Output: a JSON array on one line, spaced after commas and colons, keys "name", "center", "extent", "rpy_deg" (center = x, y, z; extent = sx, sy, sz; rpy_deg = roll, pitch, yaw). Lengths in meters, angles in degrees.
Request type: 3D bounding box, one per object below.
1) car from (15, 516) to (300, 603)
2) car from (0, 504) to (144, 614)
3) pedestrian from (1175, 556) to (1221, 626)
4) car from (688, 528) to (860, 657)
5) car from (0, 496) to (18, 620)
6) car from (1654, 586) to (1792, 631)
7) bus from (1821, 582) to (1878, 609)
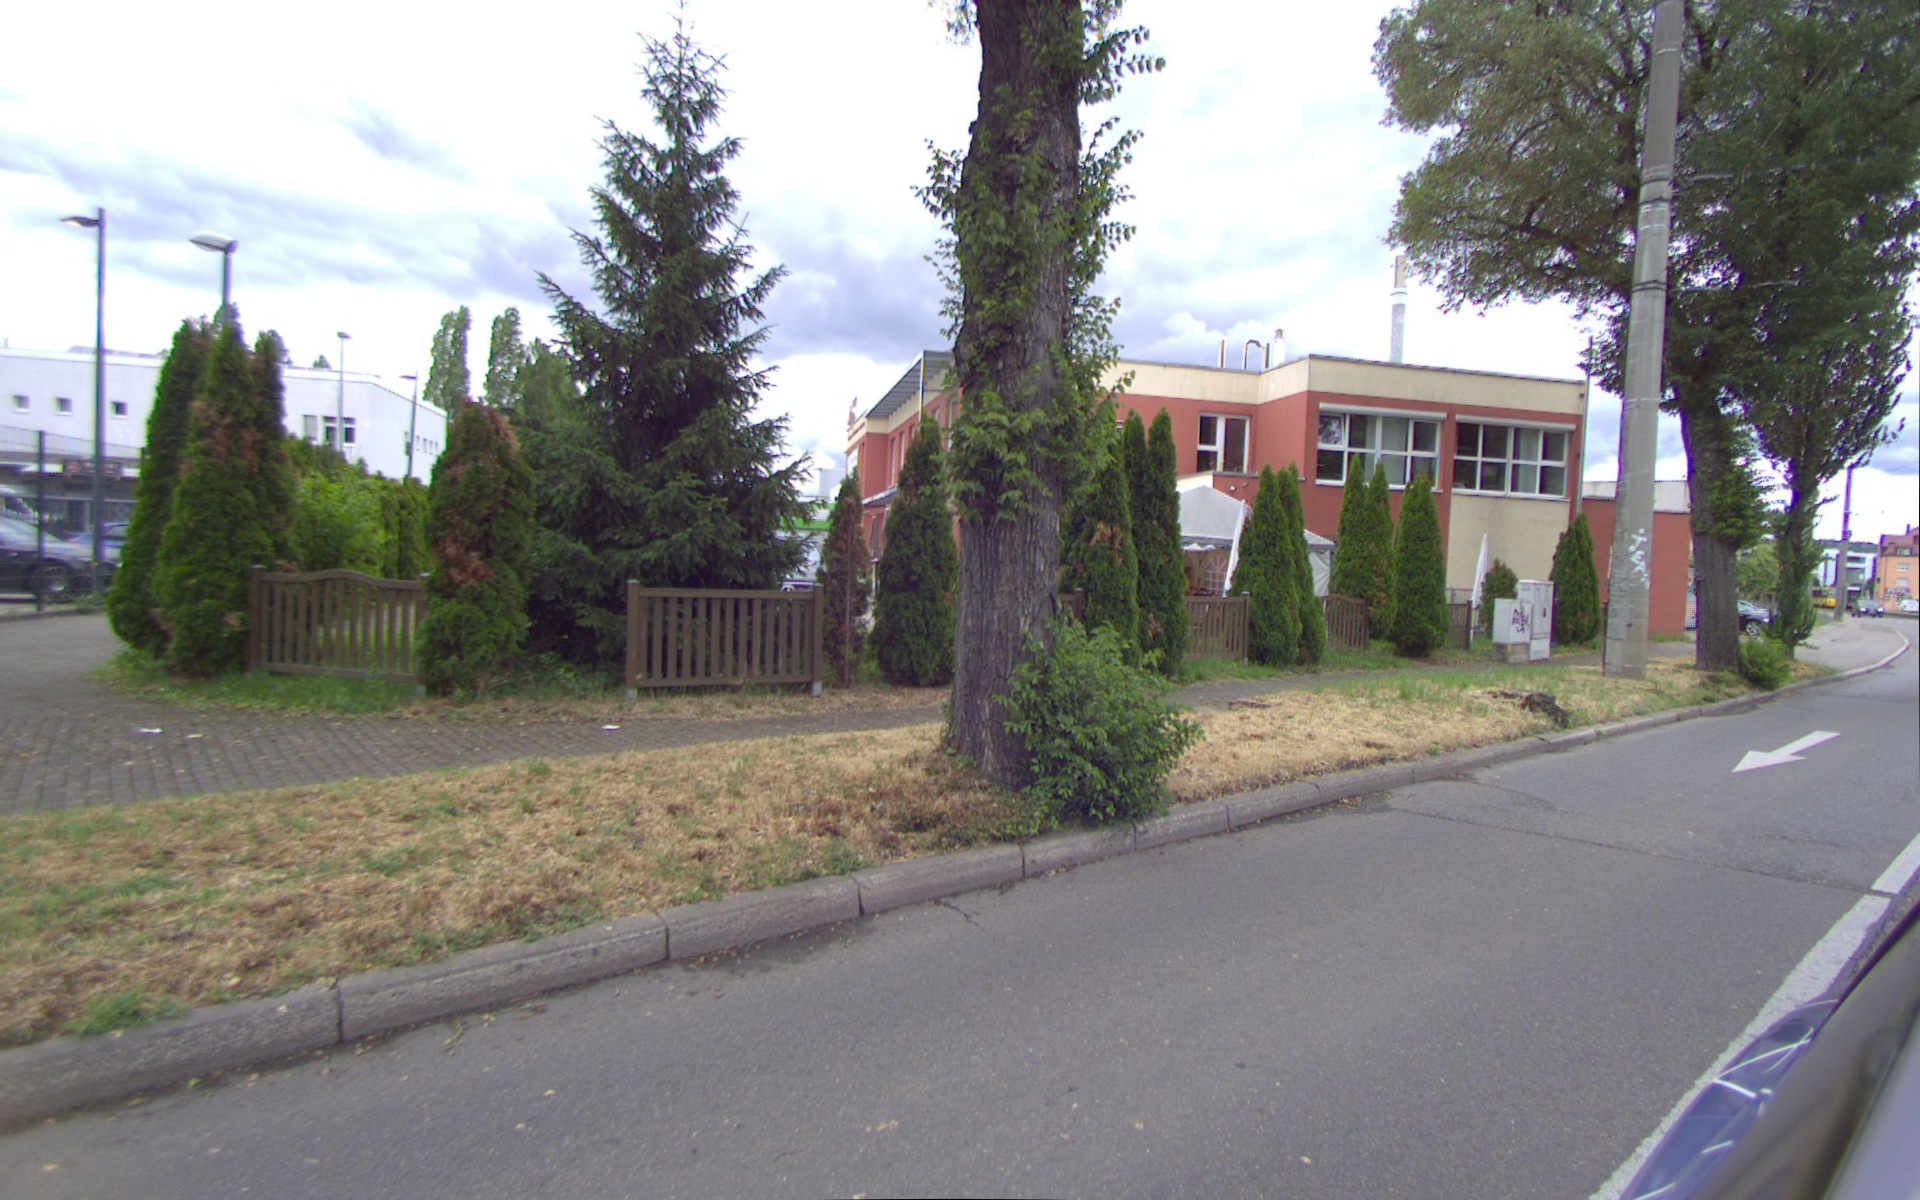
[{"name": "car", "center": [-17.669, -0.887, 22.552], "extent": [4.540, 1.695, 2.005], "rpy_deg": [2, 2, -13]}, {"name": "car", "center": [-16.514, -0.735, 16.508], "extent": [4.540, 1.695, 2.005], "rpy_deg": [2, 2, -13]}, {"name": "pedestrian", "center": [5.286, -0.219, 22.509], "extent": [0.754, 1.508, 0.706], "rpy_deg": [2, 1, -4]}, {"name": "car", "center": [-3.110, -0.183, 16.101], "extent": [1.958, 1.727, 4.387], "rpy_deg": [2, 2, -20]}, {"name": "car", "center": [-15.167, -0.611, 12.671], "extent": [4.540, 1.695, 2.005], "rpy_deg": [2, 2, -13]}, {"name": "car", "center": [31.530, 0.321, 42.001], "extent": [1.726, 1.460, 4.246], "rpy_deg": [2, 4, -19]}, {"name": "bus", "center": [144.274, -0.819, 164.281], "extent": [3.519, 4.001, 10.421], "rpy_deg": [1, 2, 21]}]
